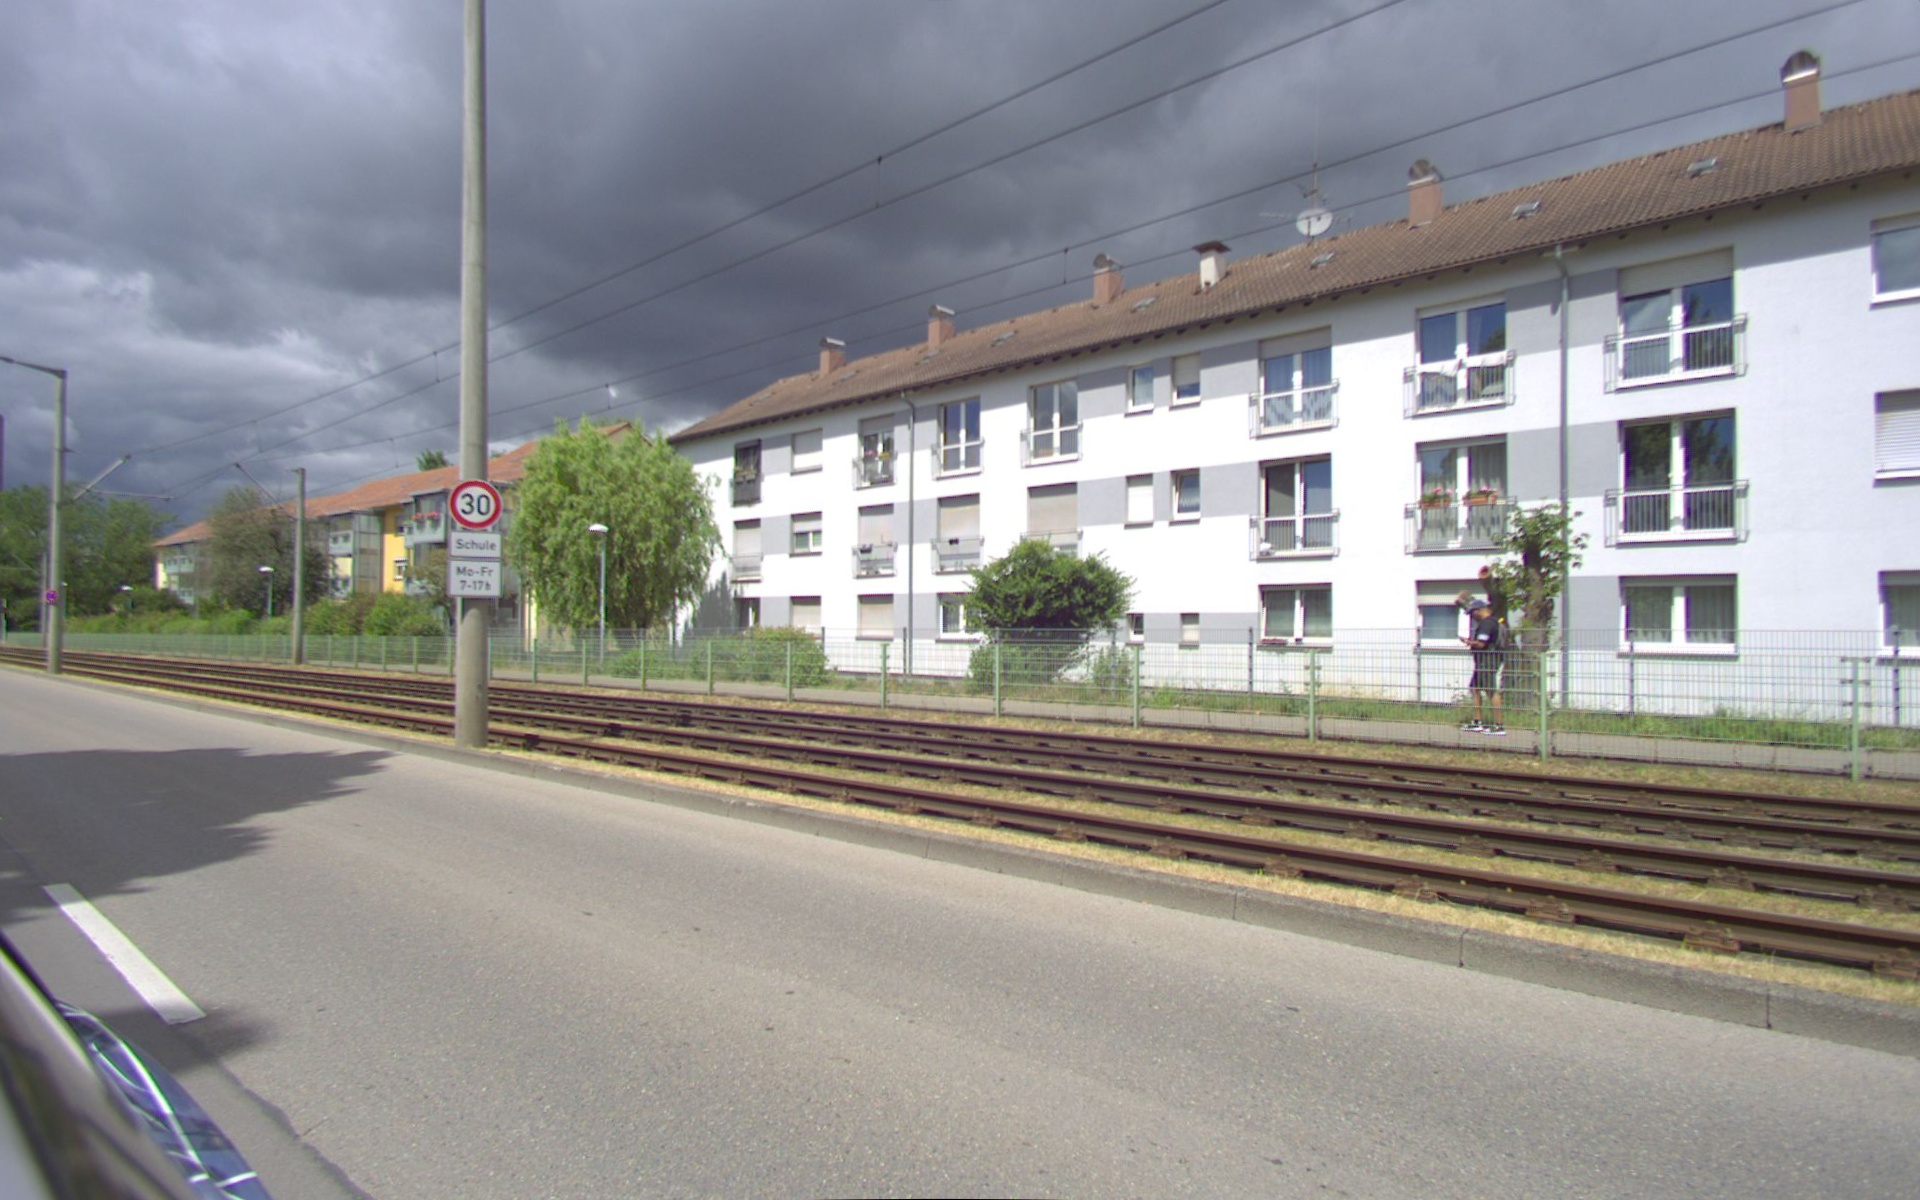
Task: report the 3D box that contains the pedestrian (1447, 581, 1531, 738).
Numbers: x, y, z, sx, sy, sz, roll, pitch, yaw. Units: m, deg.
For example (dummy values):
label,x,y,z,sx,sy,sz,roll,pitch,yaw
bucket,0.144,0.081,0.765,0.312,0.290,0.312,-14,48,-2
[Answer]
label,x,y,z,sx,sy,sz,roll,pitch,yaw
pedestrian,6.539,0.726,12.511,0.768,1.863,0.652,-2,-4,41
